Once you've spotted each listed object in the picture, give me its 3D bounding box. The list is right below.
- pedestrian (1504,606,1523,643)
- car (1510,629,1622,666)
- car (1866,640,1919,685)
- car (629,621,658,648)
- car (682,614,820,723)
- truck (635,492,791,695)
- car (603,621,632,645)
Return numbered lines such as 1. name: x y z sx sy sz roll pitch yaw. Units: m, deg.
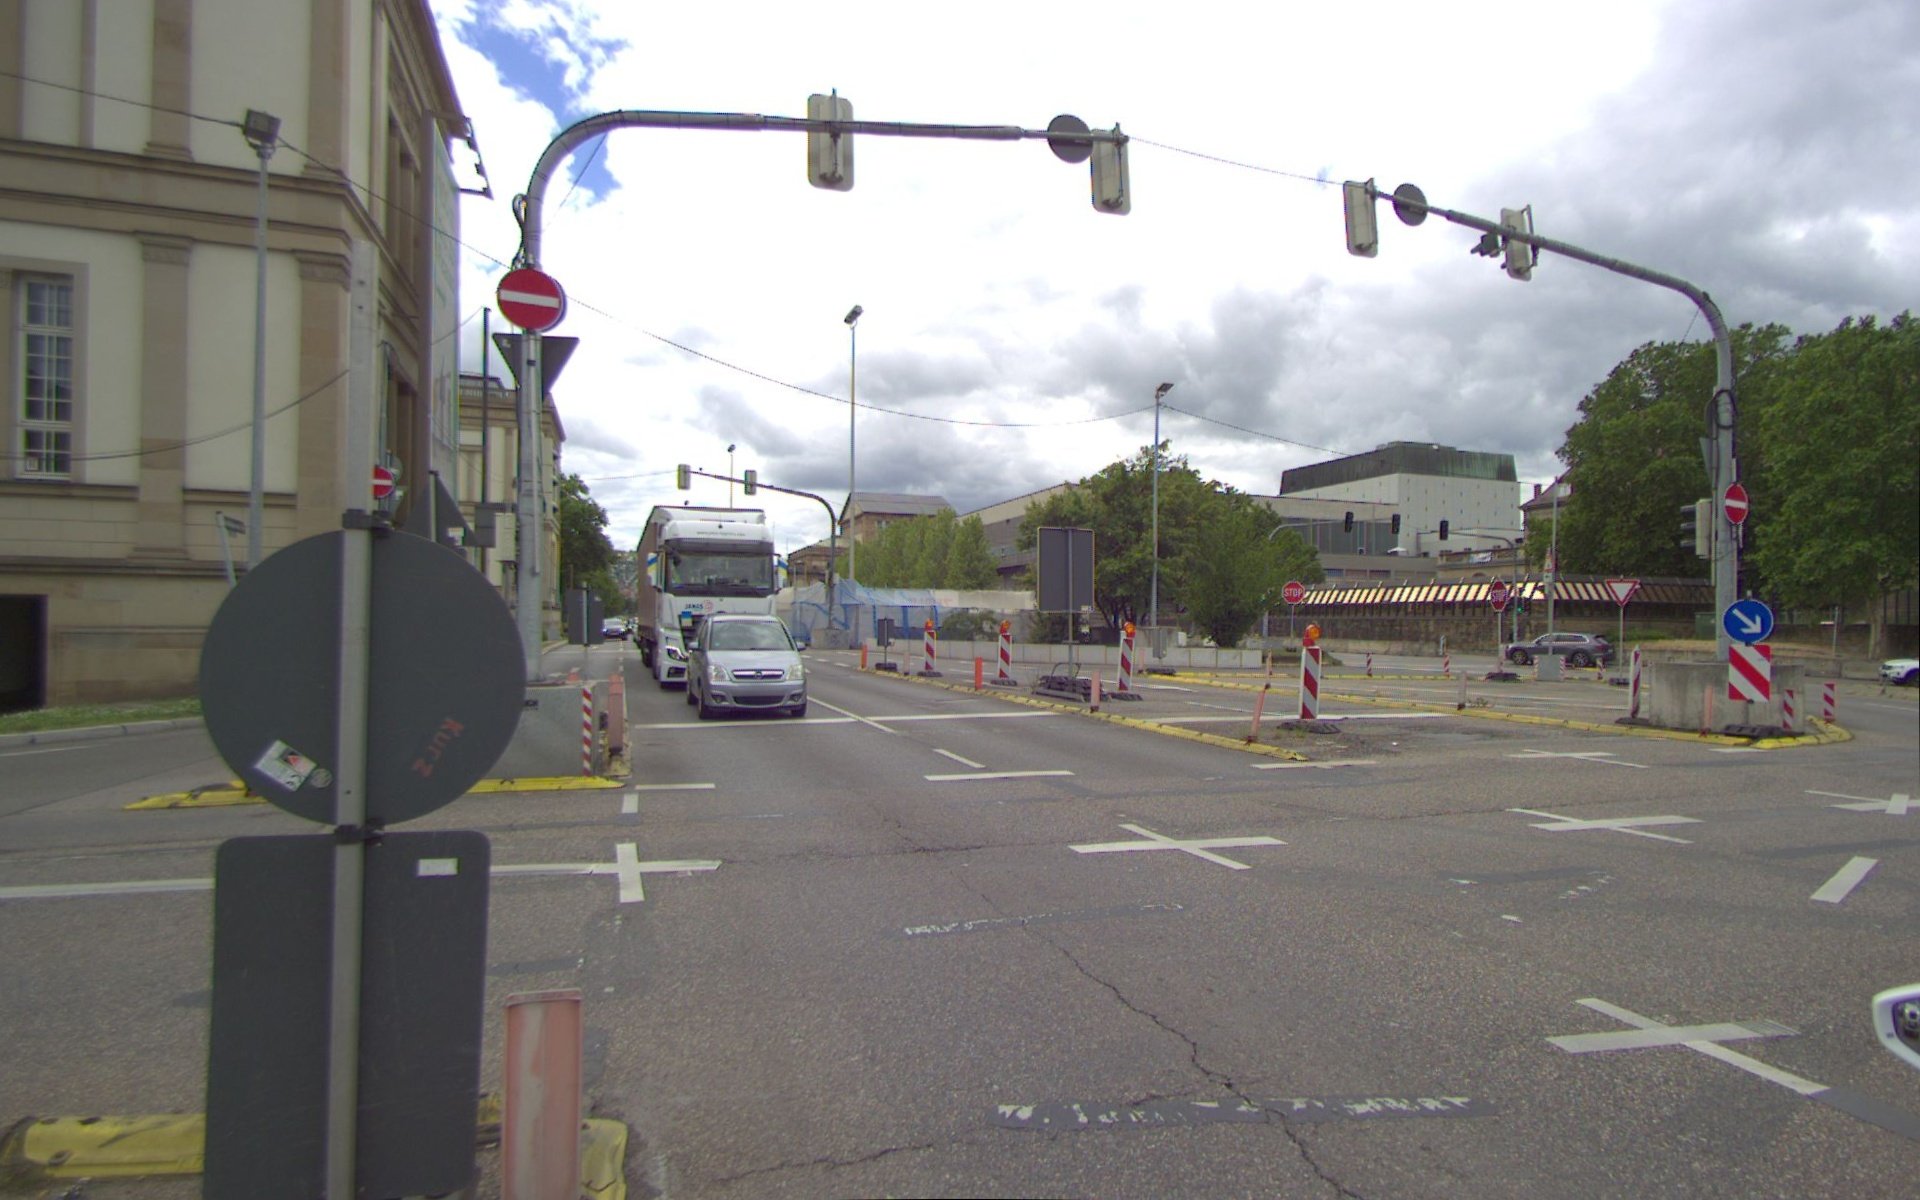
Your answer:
1. pedestrian: 31.109 1.369 56.476 0.838 2.040 0.620 0 -2 39
2. car: 29.839 2.305 49.577 1.812 1.588 4.433 1 0 -36
3. car: 39.351 2.558 40.125 4.248 1.589 1.755 2 4 24
4. car: -19.243 2.086 61.147 1.586 1.498 3.630 2 -2 -17
5. car: -3.627 1.048 16.914 1.744 1.524 4.113 1 0 -19
6. truck: -7.624 -0.003 28.734 2.881 4.137 16.544 0 -1 -19
7. car: -22.597 2.175 66.325 1.586 1.498 3.630 2 -2 -17
